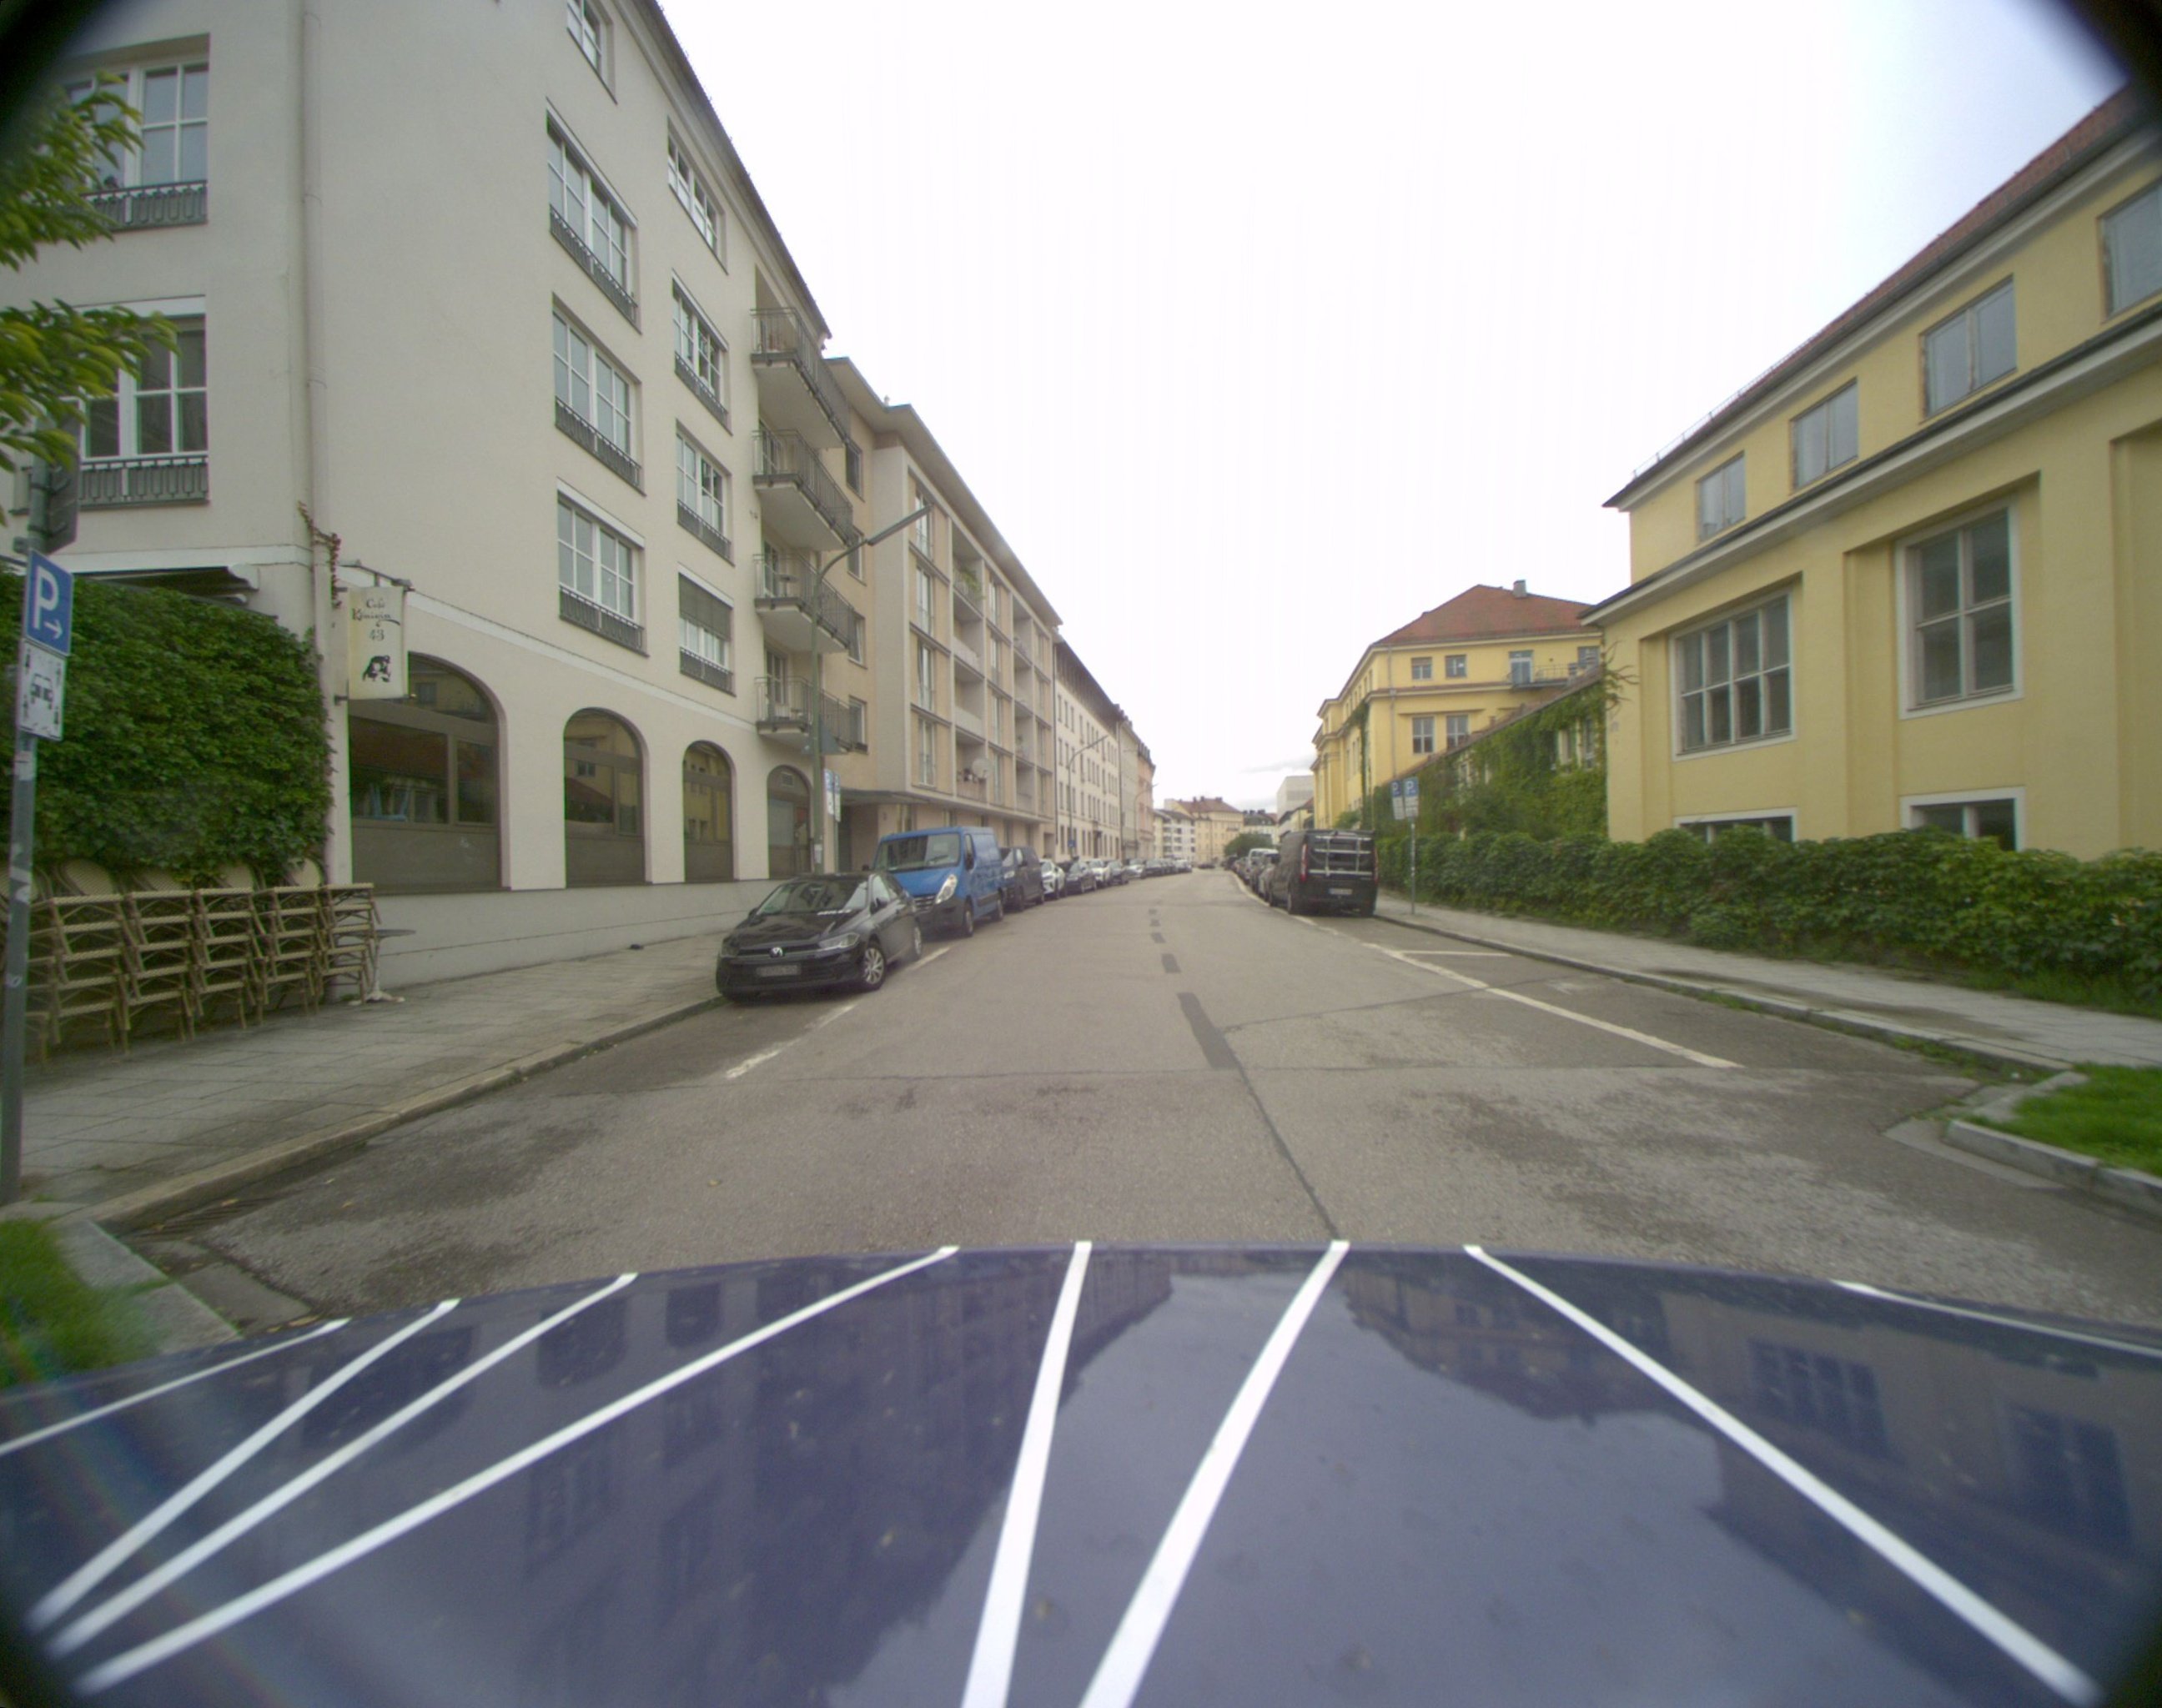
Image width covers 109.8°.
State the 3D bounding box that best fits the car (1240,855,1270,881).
[{"bbox_3d":[10.550,0.841,46.233,1.581,1.483,3.733,-1,0,10],"label":"car"}]

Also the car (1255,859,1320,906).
[{"bbox_3d":[6.649,0.862,24.784,1.622,1.370,4.075,0,0,9],"label":"car"}]

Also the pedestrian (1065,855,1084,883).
[{"bbox_3d":[-0.404,0.899,45.663,0.899,1.678,1.320,0,0,10],"label":"pedestrian"}]

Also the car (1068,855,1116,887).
[{"bbox_3d":[0.615,0.828,38.191,1.742,1.490,4.222,-1,0,10],"label":"car"}]

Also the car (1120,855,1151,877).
[{"bbox_3d":[3.884,0.826,53.726,1.674,1.526,3.885,0,0,12],"label":"car"}]

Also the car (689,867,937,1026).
[{"bbox_3d":[-3.208,1.015,10.008,1.708,1.509,3.959,-4,0,1],"label":"car"}]

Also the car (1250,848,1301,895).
[{"bbox_3d":[7.606,0.650,29.973,1.622,1.719,4.428,0,0,10],"label":"car"}]

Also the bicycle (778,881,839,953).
[{"bbox_3d":[-4.892,1.101,13.752,0.667,1.181,1.588,-1,0,-6],"label":"bicycle"}]

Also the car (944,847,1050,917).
[{"bbox_3d":[-2.291,0.741,22.179,1.968,1.805,4.938,0,0,7],"label":"car"}]

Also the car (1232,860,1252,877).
[{"bbox_3d":[16.179,1.410,76.493,1.683,1.624,4.360,-1,0,8],"label":"car"}]

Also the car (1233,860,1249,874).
[{"bbox_3d":[17.600,1.391,83.724,1.682,1.487,3.989,1,0,11],"label":"car"}]

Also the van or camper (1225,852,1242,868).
[{"bbox_3d":[27.547,1.163,137.459,2.140,2.791,5.575,1,-1,4],"label":"van or camper"}]

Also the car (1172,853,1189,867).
[{"bbox_3d":[11.386,0.701,86.800,1.695,1.574,4.086,-1,0,9],"label":"car"}]

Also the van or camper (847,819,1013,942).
[{"bbox_3d":[-2.984,0.506,16.504,2.064,2.218,5.441,0,0,5],"label":"van or camper"}]

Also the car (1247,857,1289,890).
[{"bbox_3d":[8.676,0.863,35.470,1.704,1.414,4.429,0,0,11],"label":"car"}]

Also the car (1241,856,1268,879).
[{"bbox_3d":[11.526,0.893,50.708,1.581,1.447,3.907,-1,0,10],"label":"car"}]

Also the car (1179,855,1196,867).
[{"bbox_3d":[13.044,0.878,92.840,1.695,1.442,4.087,-1,0,13],"label":"car"}]

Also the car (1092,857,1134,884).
[{"bbox_3d":[1.838,0.911,42.899,1.799,1.412,4.486,-1,0,10],"label":"car"}]

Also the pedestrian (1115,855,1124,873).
[{"bbox_3d":[3.417,0.879,67.363,0.735,1.616,0.829,0,0,12],"label":"pedestrian"}]

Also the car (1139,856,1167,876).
[{"bbox_3d":[6.046,0.995,63.302,1.859,1.535,4.820,-1,0,10],"label":"car"}]

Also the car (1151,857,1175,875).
[{"bbox_3d":[7.428,1.075,68.254,1.859,1.535,4.159,-1,0,10],"label":"car"}]

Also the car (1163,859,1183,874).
[{"bbox_3d":[9.826,1.311,80.997,1.859,1.535,4.159,-1,0,10],"label":"car"}]

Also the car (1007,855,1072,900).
[{"bbox_3d":[-1.443,0.821,27.898,1.742,1.528,4.275,0,0,5],"label":"car"}]

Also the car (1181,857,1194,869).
[{"bbox_3d":[15.305,1.290,109.135,1.606,1.632,3.634,0,0,10],"label":"car"}]

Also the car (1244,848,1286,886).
[{"bbox_3d":[9.681,0.657,40.290,1.996,1.864,4.763,0,0,12],"label":"car"}]

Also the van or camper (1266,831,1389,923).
[{"bbox_3d":[6.107,0.535,19.411,1.965,2.053,4.755,0,0,5],"label":"van or camper"}]

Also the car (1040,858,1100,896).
[{"bbox_3d":[-0.401,0.933,32.927,1.742,1.490,4.499,-1,0,10],"label":"car"}]
